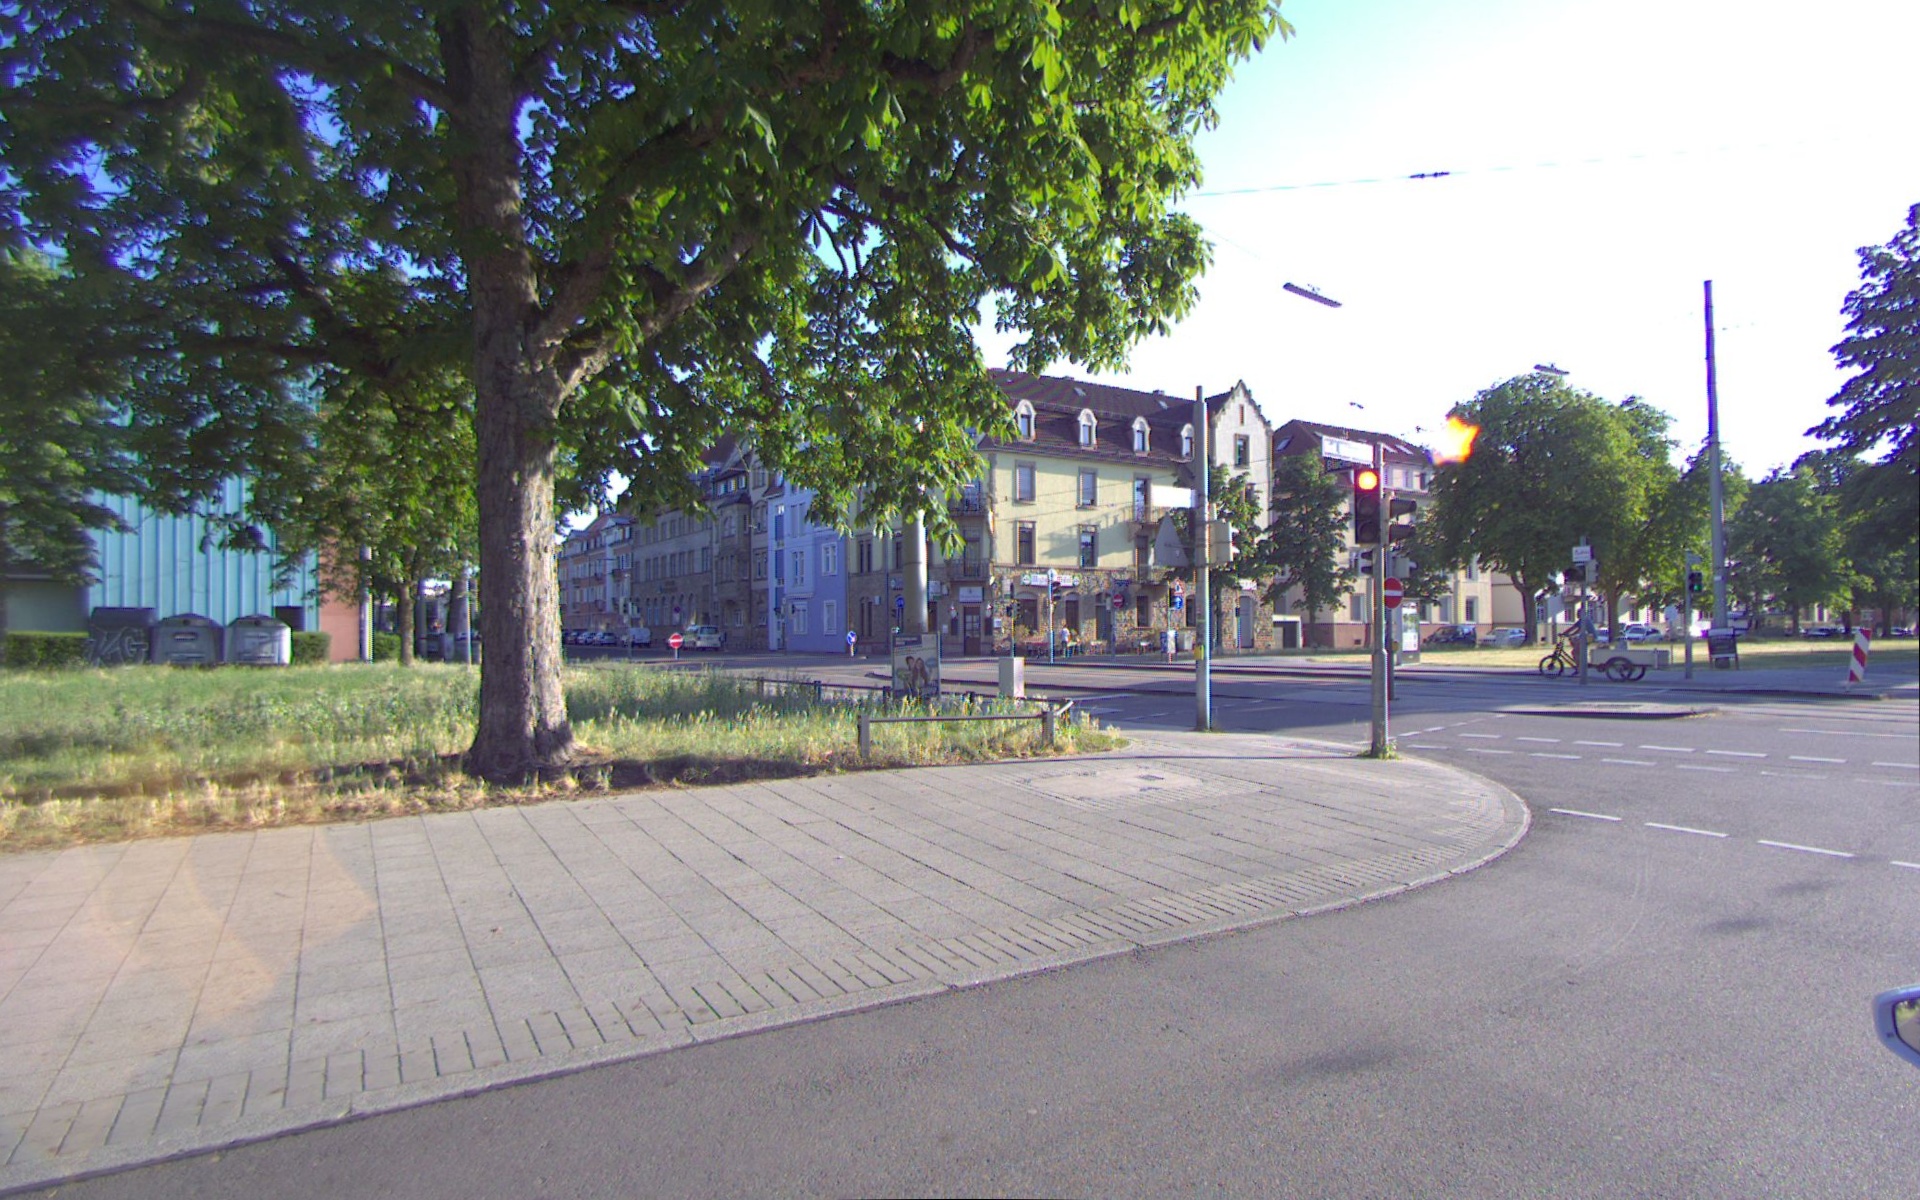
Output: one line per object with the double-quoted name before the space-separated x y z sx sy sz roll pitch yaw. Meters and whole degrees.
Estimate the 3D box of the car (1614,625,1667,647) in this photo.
"car" 51.624 2.708 76.199 4.372 1.575 1.785 0 1 -34

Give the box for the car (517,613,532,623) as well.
"car" -70.322 2.921 162.166 1.534 1.387 3.428 2 0 -34

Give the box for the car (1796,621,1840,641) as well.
"car" 80.909 2.928 94.692 4.266 1.696 1.869 2 0 -31

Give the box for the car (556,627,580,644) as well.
"car" -45.906 4.144 117.584 1.782 1.855 3.755 2 0 -34

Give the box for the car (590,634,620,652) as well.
"car" -36.588 4.400 103.503 1.980 1.694 3.743 2 0 -34

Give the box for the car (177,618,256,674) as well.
"car" -24.565 1.472 33.178 1.950 1.693 5.169 1 -2 -37

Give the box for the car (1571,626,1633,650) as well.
"car" 46.997 2.791 73.519 4.517 1.681 1.984 2 0 -30

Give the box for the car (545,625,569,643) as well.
"car" -48.987 4.112 122.089 1.805 2.040 3.924 2 0 -34

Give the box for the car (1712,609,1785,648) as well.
"car" 67.948 2.406 86.500 7.764 3.173 2.379 1 1 -32

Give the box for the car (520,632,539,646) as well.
"car" -57.748 5.180 134.743 1.713 1.694 3.638 2 0 -33

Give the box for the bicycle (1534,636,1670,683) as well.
"bicycle" 17.133 1.567 26.948 0.863 1.176 3.063 1 -3 -26

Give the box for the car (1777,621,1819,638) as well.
"car" 86.983 3.066 104.304 4.323 1.681 1.984 2 0 -30

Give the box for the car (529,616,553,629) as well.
"car" -58.120 3.144 139.451 1.912 1.715 3.952 2 -1 -41

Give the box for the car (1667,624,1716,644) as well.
"car" 66.826 3.094 91.733 4.517 1.681 1.984 2 0 -30

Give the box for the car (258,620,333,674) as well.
"car" -22.782 1.658 34.492 1.979 1.693 5.177 2 -4 -34

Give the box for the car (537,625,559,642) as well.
"car" -51.967 4.214 126.658 1.789 2.040 3.772 2 0 -33

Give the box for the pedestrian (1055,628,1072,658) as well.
"pedestrian" 5.821 2.421 56.277 0.676 1.646 0.612 2 0 -34

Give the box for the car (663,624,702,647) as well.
"car" -22.930 2.918 82.933 1.980 1.763 3.962 1 0 -34

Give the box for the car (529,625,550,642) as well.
"car" -54.774 4.380 130.890 1.756 2.040 3.790 2 0 -34

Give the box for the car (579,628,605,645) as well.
"car" -39.697 3.951 108.300 1.816 1.692 3.911 2 0 -34

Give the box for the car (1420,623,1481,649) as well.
"car" 35.704 2.631 73.136 4.261 1.759 1.984 2 0 -30

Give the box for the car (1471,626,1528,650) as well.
"car" 40.958 2.875 76.236 3.953 1.681 1.984 2 0 -30

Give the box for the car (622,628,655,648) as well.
"car" -30.104 3.526 93.942 1.980 1.694 3.743 2 0 -34

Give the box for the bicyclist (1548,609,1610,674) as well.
"bicyclist" 16.910 1.135 27.473 0.864 1.746 1.141 1 -3 -27

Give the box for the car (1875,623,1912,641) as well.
"car" 97.849 3.340 105.246 4.075 1.804 1.802 2 0 -31

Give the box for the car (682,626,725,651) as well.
"car" -20.015 2.991 78.255 2.011 1.760 3.743 2 0 -34
